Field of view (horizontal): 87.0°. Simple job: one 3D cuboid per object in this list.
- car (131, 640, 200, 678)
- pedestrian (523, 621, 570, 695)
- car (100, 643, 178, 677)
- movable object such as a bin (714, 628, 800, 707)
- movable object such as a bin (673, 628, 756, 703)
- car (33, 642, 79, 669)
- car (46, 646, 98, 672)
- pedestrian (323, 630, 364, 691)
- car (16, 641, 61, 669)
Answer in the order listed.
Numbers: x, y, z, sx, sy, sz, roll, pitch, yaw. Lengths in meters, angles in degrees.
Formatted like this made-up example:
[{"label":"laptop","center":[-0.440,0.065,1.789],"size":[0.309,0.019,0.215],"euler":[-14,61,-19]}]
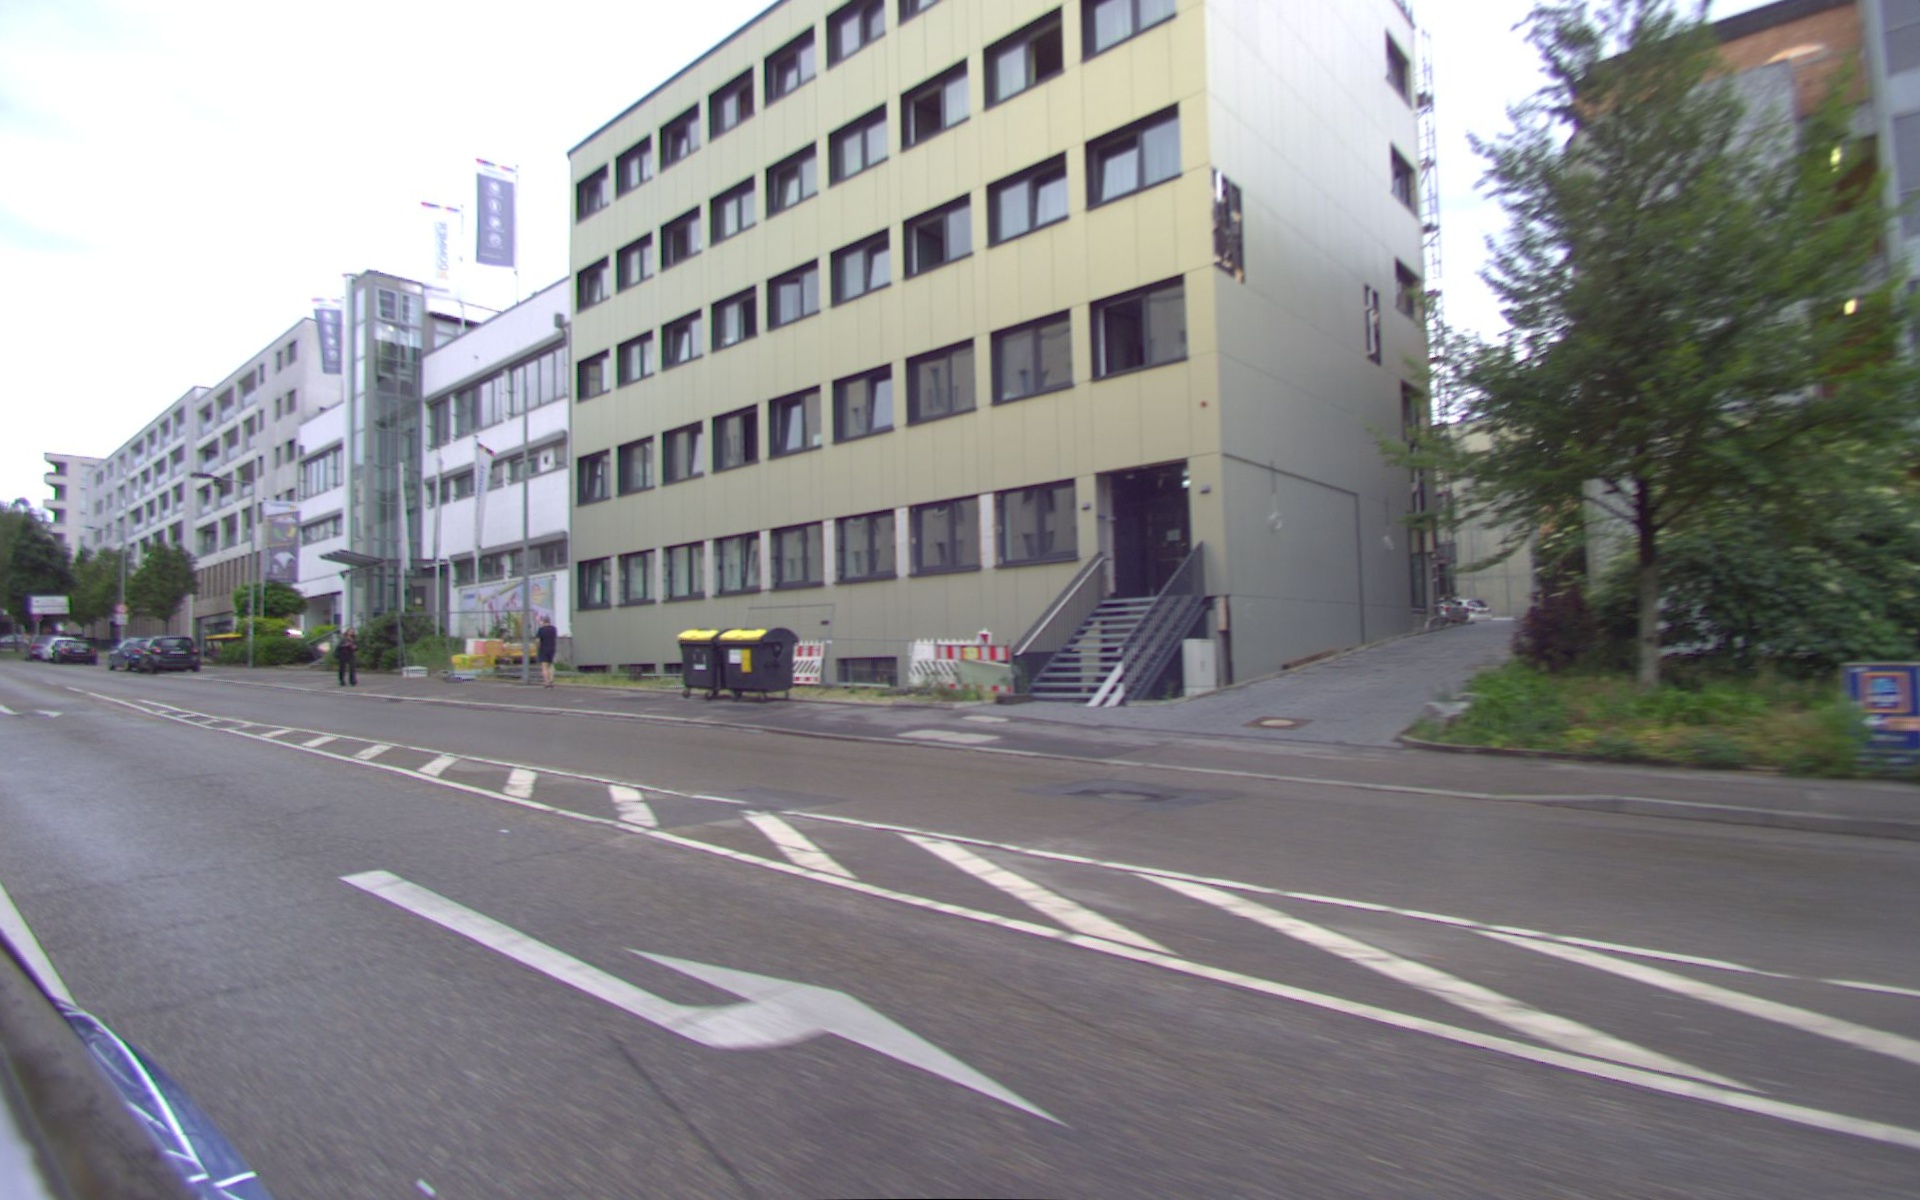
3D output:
[{"label":"car","center":[-32.984,2.454,42.004],"size":[2.977,1.521,1.500],"euler":[-2,-5,37]},{"label":"pedestrian","center":[-10.197,1.412,24.948],"size":[0.942,1.745,0.746],"euler":[-2,-1,45]},{"label":"car","center":[-36.157,2.635,44.533],"size":[4.262,1.414,1.640],"euler":[-2,-5,37]},{"label":"movable object such as a bin","center":[-4.005,1.302,19.927],"size":[1.358,1.456,1.042],"euler":[-2,0,44]},{"label":"movable object such as a bin","center":[-5.092,1.330,20.950],"size":[1.430,1.456,1.042],"euler":[-2,0,44]},{"label":"car","center":[-54.316,3.333,60.795],"size":[3.420,1.479,1.576],"euler":[-2,-6,41]},{"label":"car","center":[-50.622,3.367,57.684],"size":[3.736,1.402,1.641],"euler":[-2,-5,40]},{"label":"pedestrian","center":[-17.574,1.713,28.834],"size":[0.968,1.689,0.758],"euler":[-2,-1,43]},{"label":"car","center":[-58.155,3.463,63.854],"size":[3.971,1.630,1.609],"euler":[-3,-6,42]}]
